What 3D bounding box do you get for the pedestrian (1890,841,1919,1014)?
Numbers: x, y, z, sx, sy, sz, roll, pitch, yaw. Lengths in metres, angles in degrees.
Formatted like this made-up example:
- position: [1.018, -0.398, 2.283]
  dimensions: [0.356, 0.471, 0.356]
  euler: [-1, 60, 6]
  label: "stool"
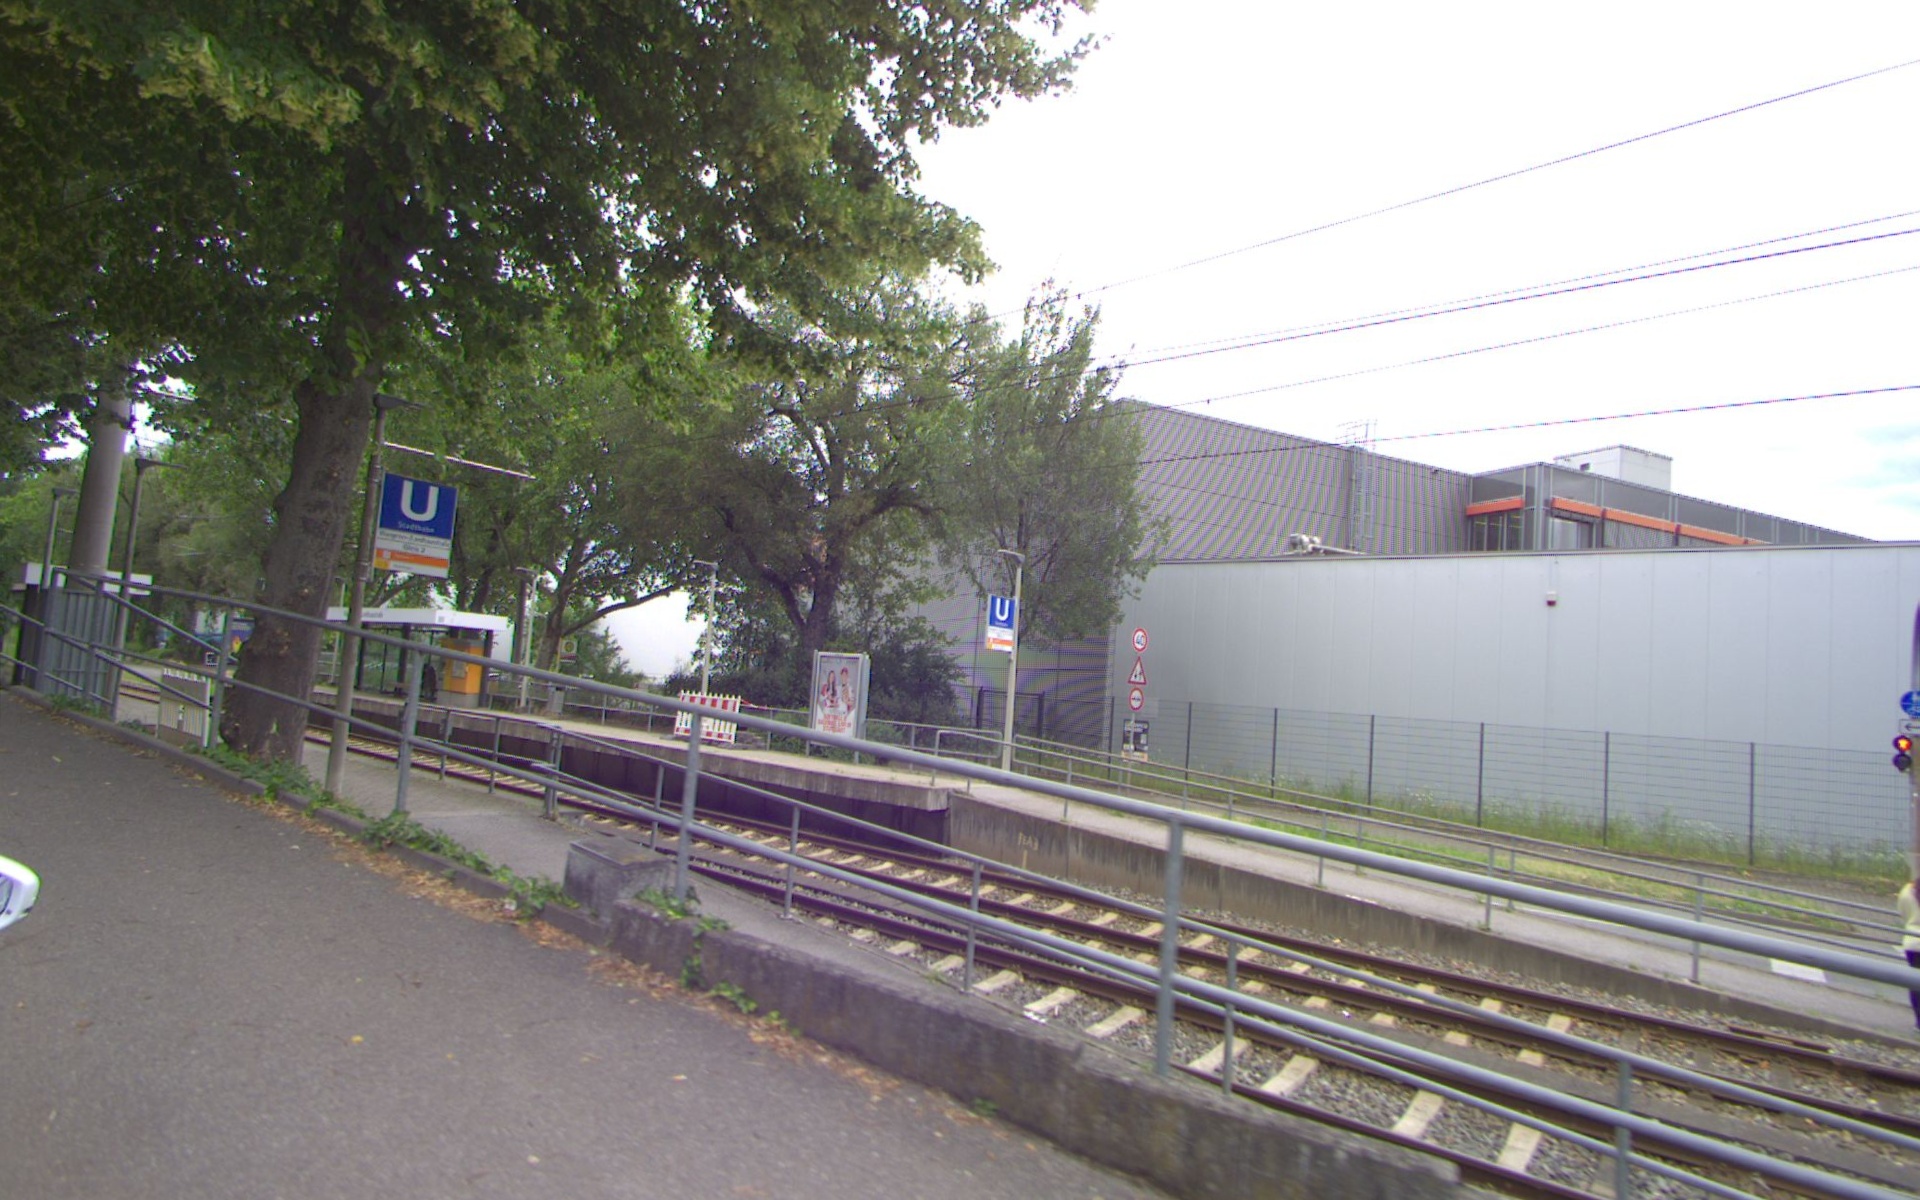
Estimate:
- position: [10.100, 3.398, 10.379]
  dimensions: [0.728, 1.680, 0.679]
  euler: [0, -8, 42]
  label: "pedestrian"
